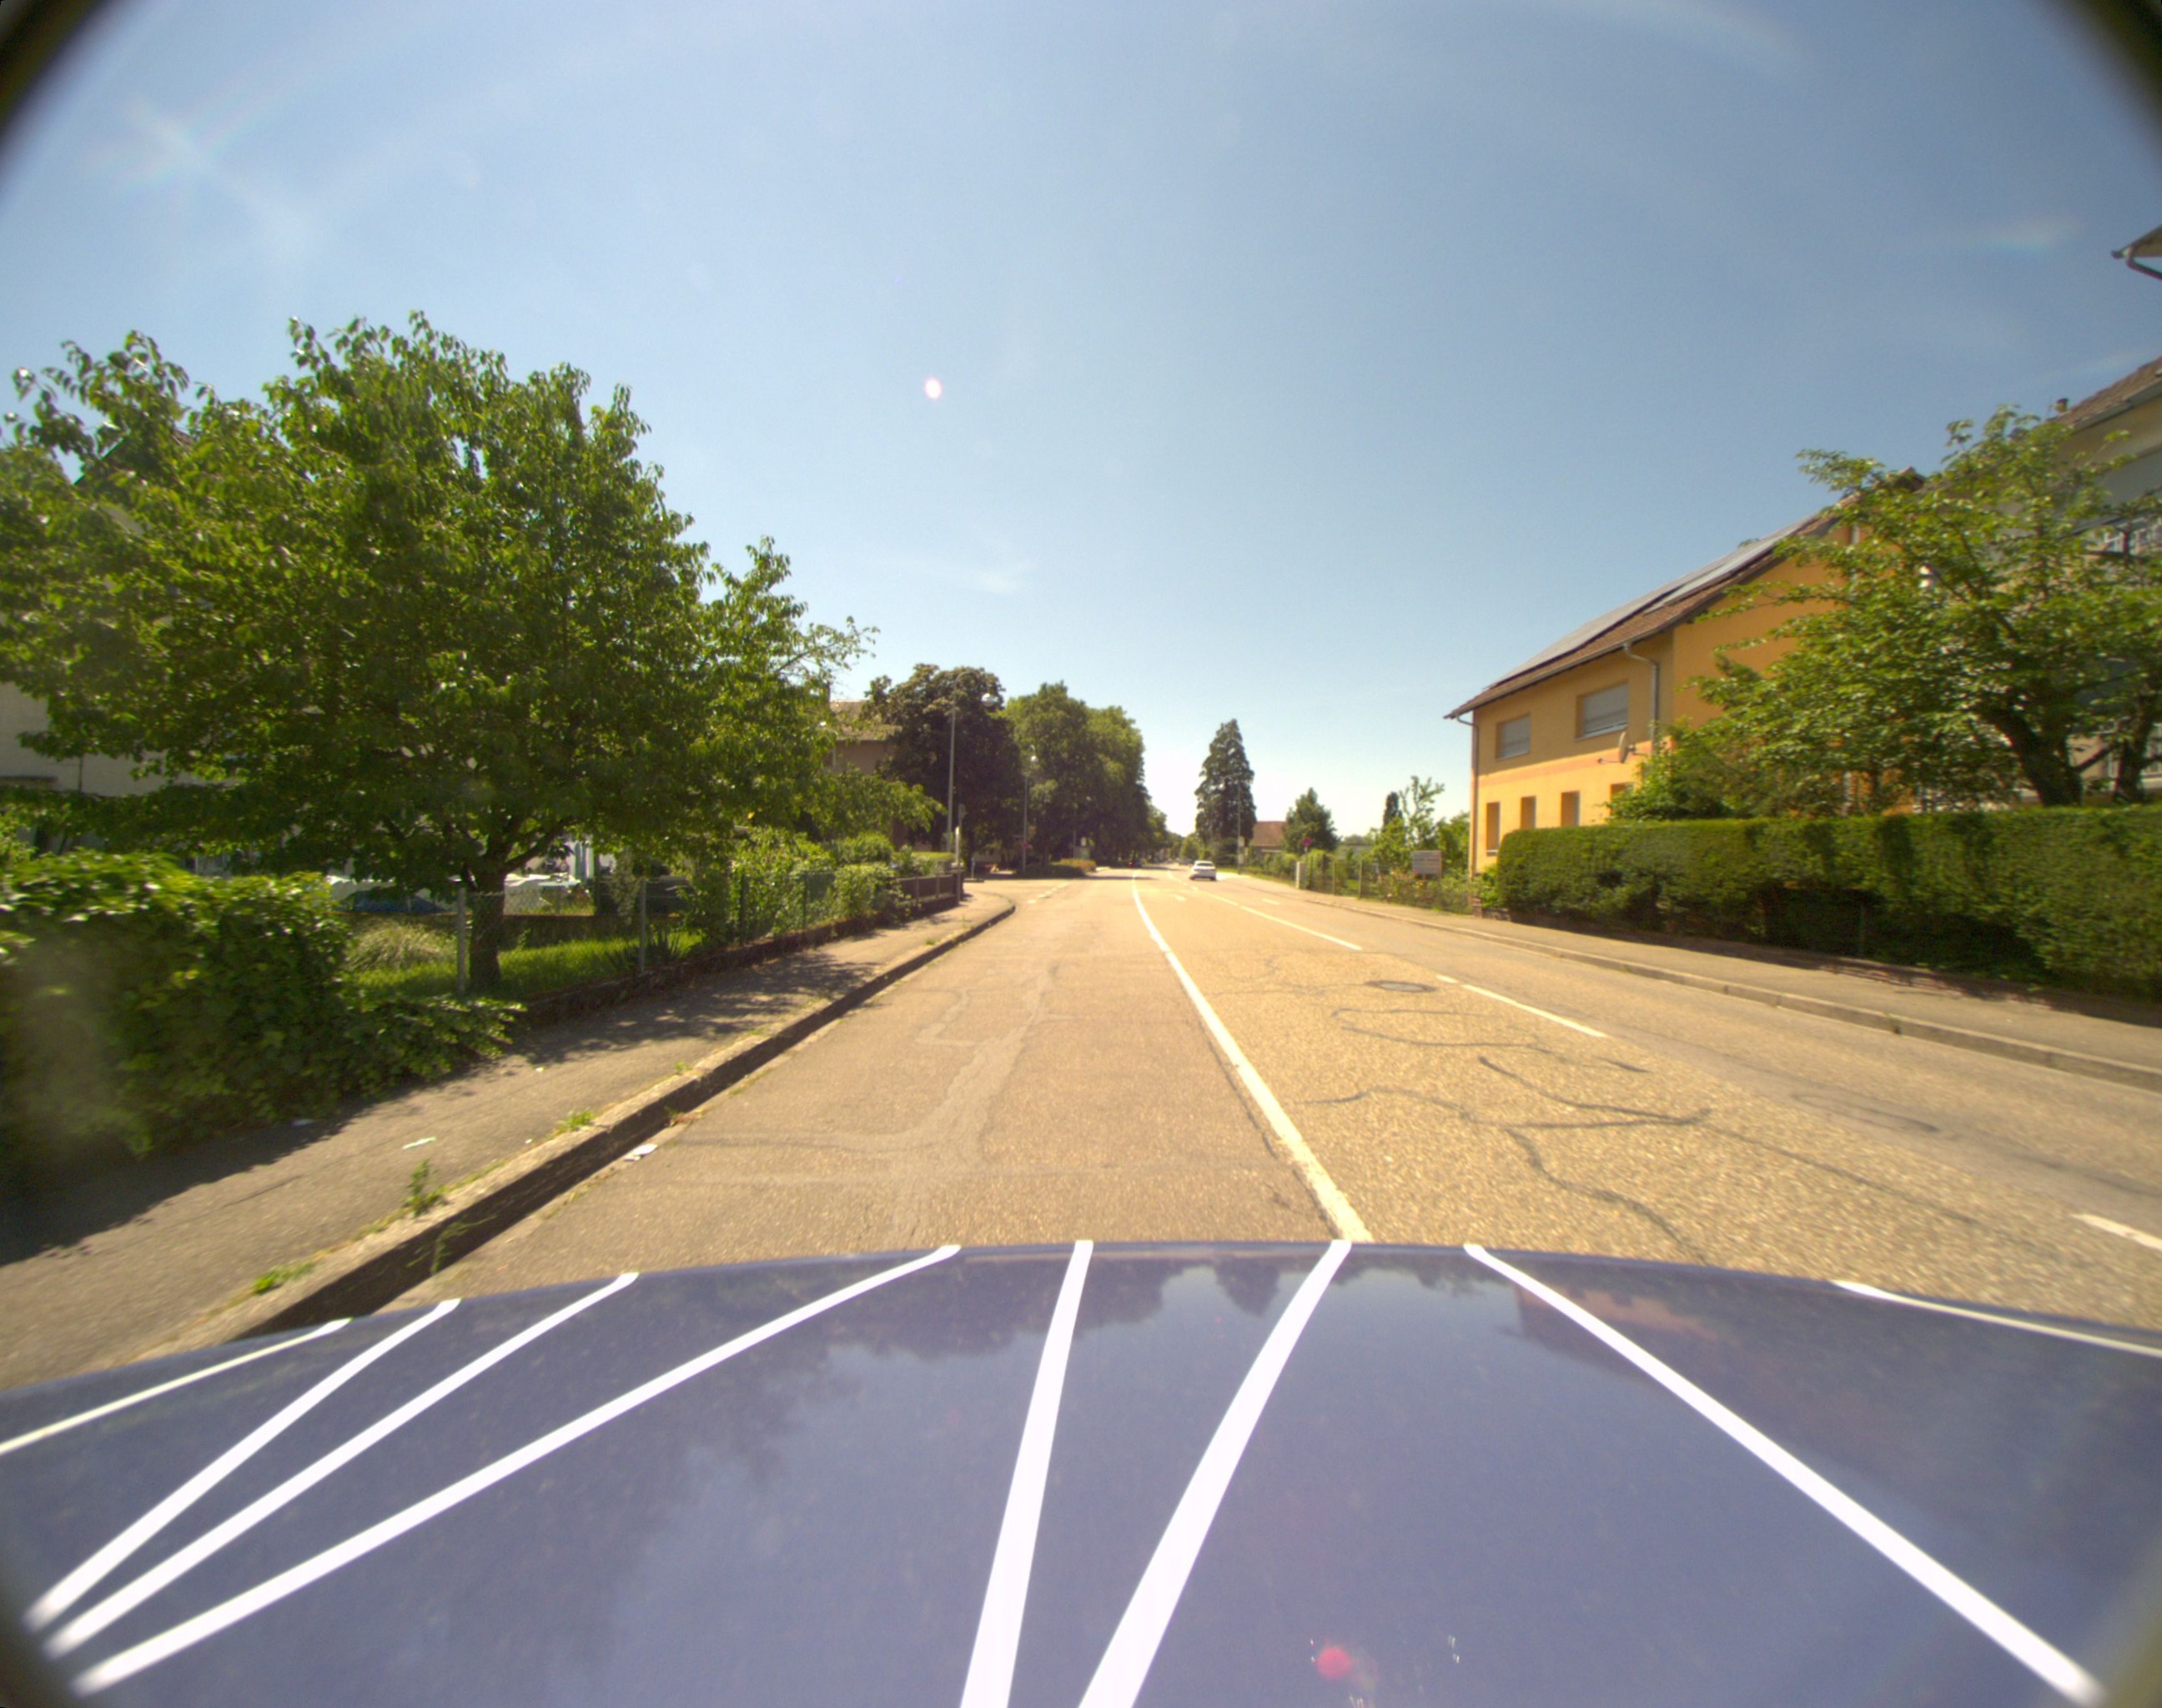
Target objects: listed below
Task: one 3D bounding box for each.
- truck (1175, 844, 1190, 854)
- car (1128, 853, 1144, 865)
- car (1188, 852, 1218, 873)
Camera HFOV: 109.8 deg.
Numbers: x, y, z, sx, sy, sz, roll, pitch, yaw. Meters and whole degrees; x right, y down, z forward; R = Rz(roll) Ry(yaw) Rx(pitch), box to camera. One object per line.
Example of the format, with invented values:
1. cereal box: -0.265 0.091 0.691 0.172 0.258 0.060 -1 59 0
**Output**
1. truck: 25.480 -1.262 191.760 2.623 2.228 6.255 1 1 -3
2. car: 8.133 0.688 112.823 1.882 1.623 4.324 2 1 9
3. car: 8.836 0.575 55.387 1.684 1.364 4.207 3 0 3
